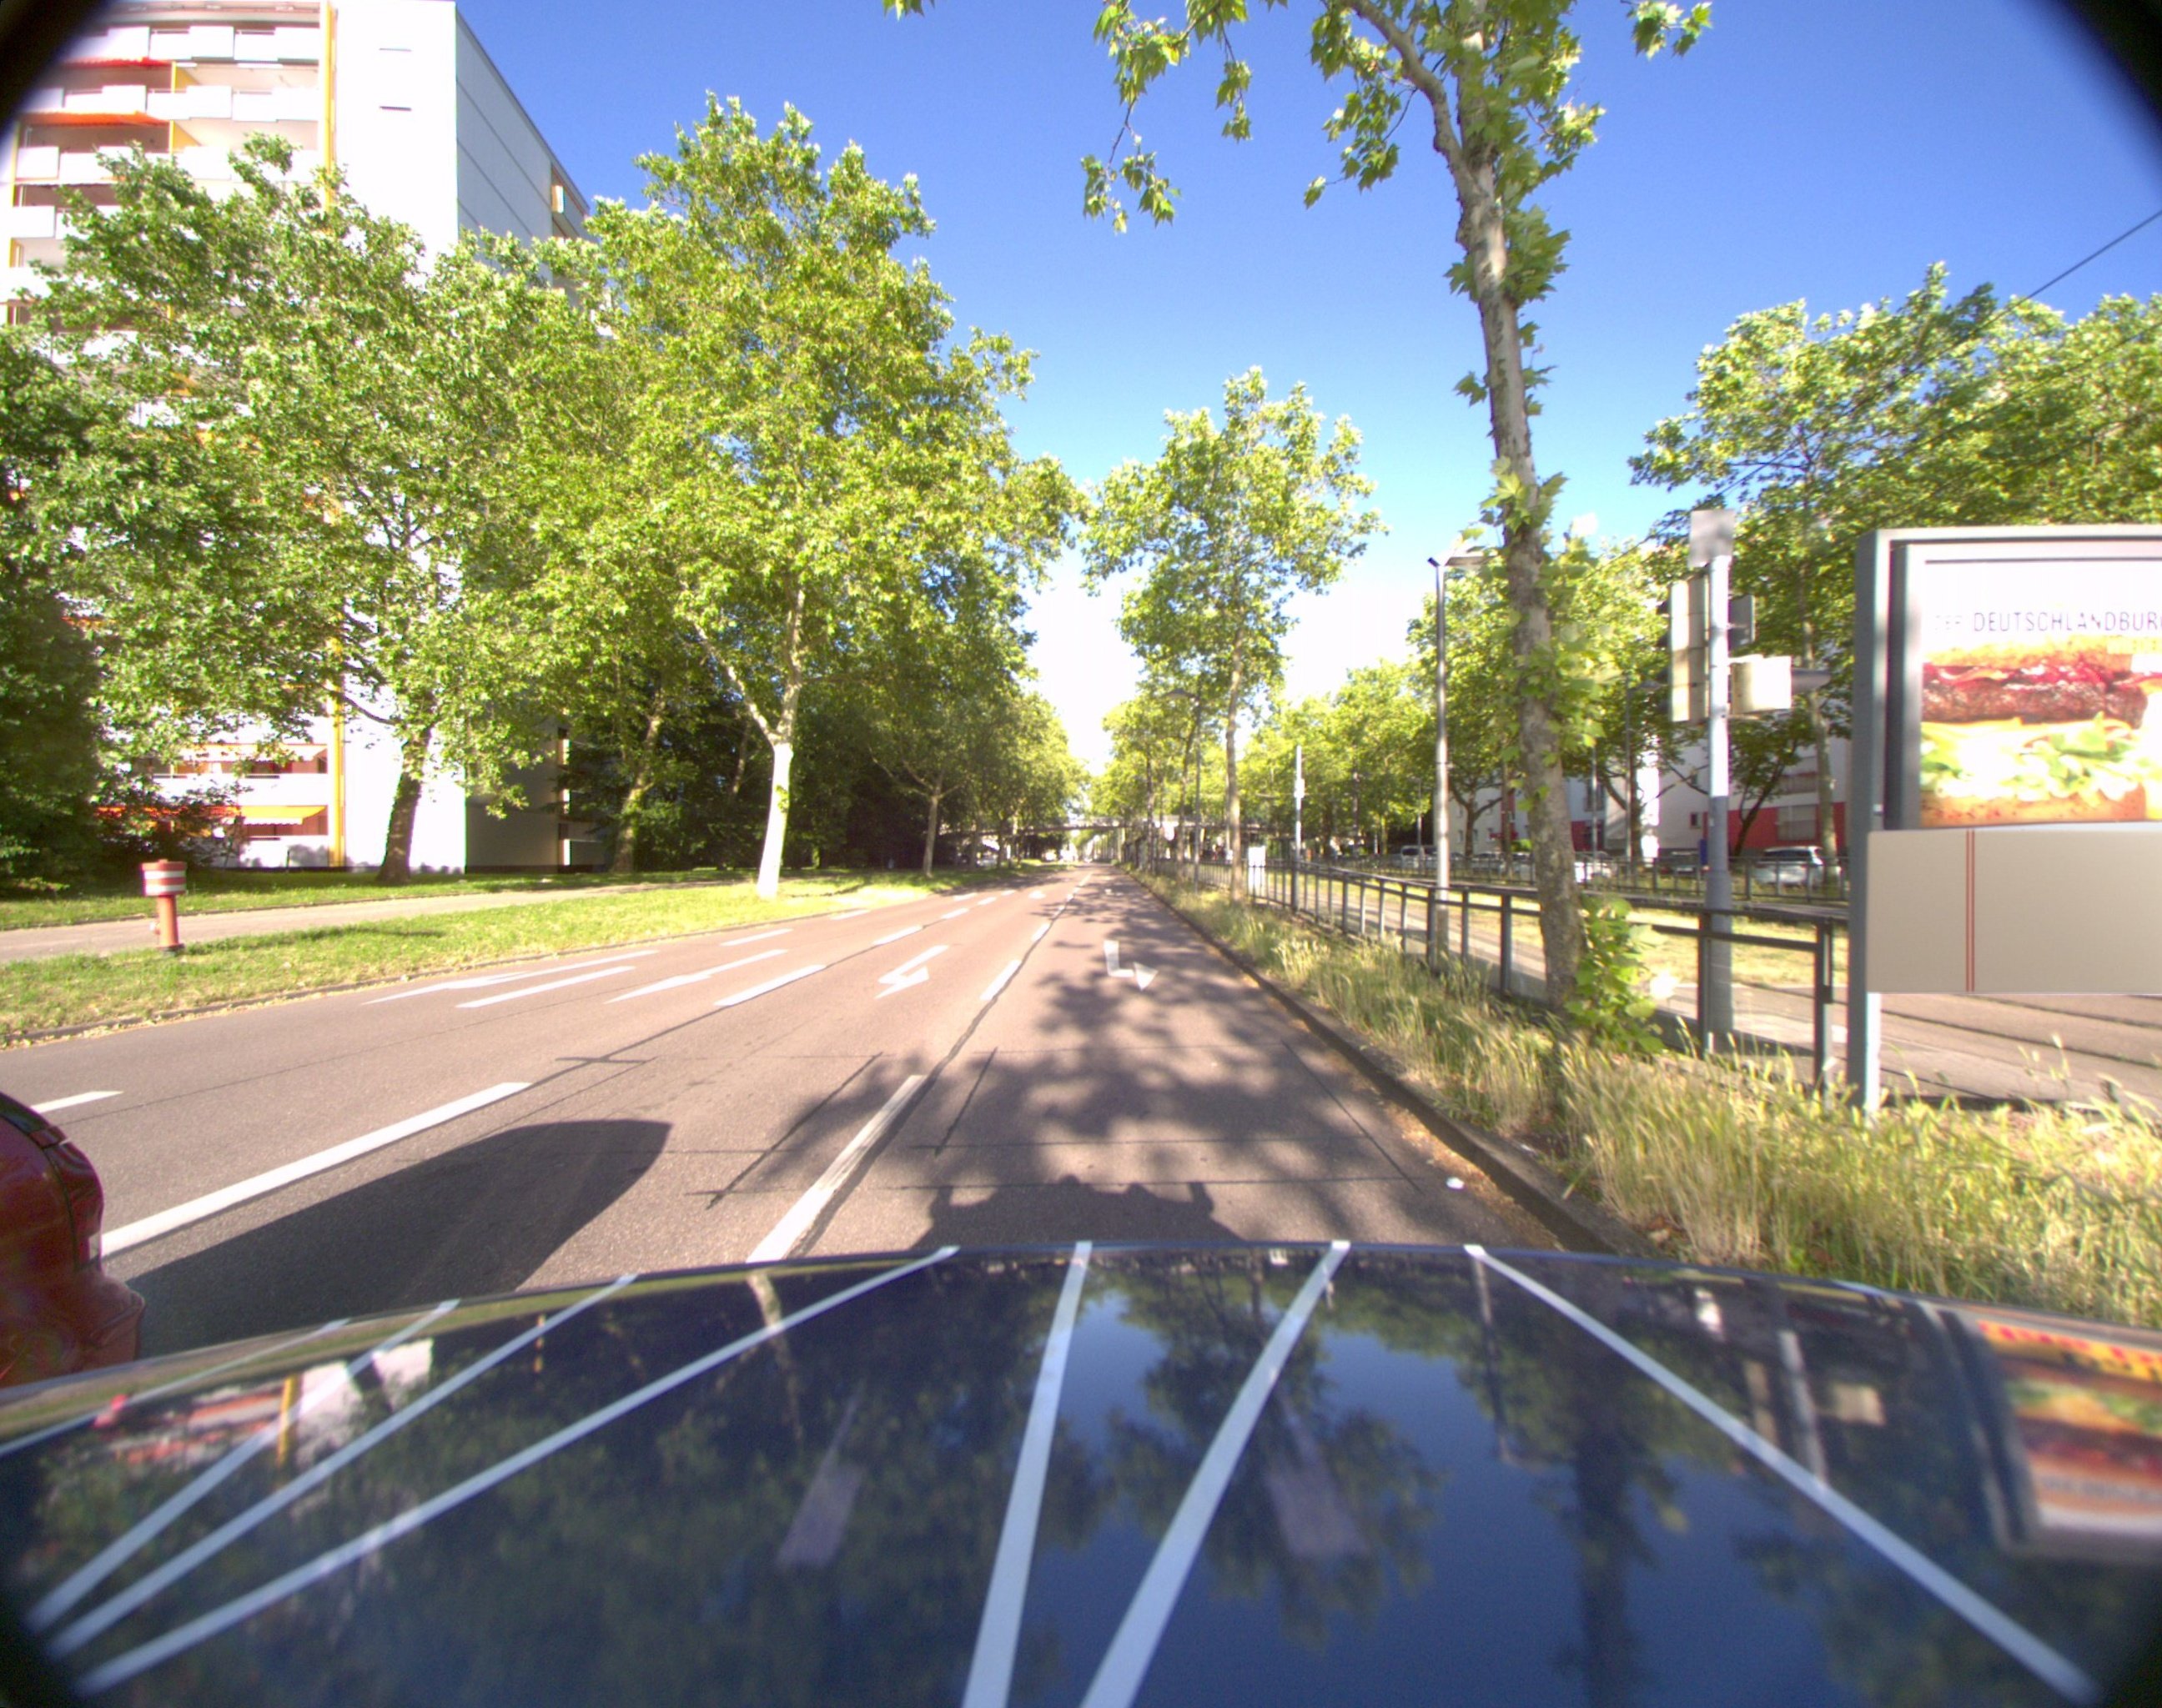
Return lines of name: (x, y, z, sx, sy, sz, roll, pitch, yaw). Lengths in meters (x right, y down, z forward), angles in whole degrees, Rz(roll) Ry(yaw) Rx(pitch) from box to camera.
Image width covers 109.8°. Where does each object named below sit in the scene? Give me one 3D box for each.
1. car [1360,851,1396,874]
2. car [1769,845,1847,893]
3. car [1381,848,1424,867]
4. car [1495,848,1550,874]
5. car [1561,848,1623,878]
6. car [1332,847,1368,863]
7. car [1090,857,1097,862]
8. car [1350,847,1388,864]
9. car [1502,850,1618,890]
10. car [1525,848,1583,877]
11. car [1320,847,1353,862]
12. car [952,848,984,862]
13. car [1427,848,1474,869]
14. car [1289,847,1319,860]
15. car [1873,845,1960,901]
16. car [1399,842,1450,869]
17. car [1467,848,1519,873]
car: (21.026, 0.571, 53.839, 1.579, 1.548, 2.817, -2, 0, 3)
car: (25.357, 0.489, 26.474, 3.811, 1.501, 1.652, -2, 0, -42)
car: (25.728, 0.269, 60.751, 3.811, 1.433, 1.652, -2, 0, -42)
car: (26.097, 0.406, 44.863, 3.811, 1.433, 1.652, -2, 0, -42)
car: (25.382, 0.447, 37.696, 3.811, 1.348, 1.652, -2, 0, -42)
car: (26.063, 0.133, 73.564, 3.811, 1.433, 1.652, -2, 0, -42)
car: (3.150, 1.354, 190.780, 1.580, 1.395, 3.638, -2, 0, 0)
car: (26.617, 0.134, 70.132, 3.811, 1.433, 1.652, -2, 0, -42)
car: (19.531, 0.605, 31.271, 1.656, 1.501, 4.641, -2, 0, -3)
car: (25.862, 0.442, 41.477, 3.811, 1.433, 1.652, -2, 0, -42)
car: (26.783, 0.045, 79.624, 3.811, 1.433, 1.652, -2, 0, -42)
car: (-17.566, 0.153, 118.314, 4.720, 1.924, 1.906, -2, 0, -8)
car: (26.300, 0.309, 54.031, 3.811, 1.433, 1.652, -2, 0, -42)
car: (26.435, -0.048, 89.973, 3.811, 1.433, 1.652, -2, 0, -42)
car: (25.244, 0.523, 22.965, 3.811, 1.501, 1.652, -2, 0, -42)
car: (25.817, 0.089, 57.028, 4.330, 1.863, 1.836, -2, 0, -42)
car: (25.850, 0.397, 47.677, 3.811, 1.433, 1.652, -2, 0, -42)
